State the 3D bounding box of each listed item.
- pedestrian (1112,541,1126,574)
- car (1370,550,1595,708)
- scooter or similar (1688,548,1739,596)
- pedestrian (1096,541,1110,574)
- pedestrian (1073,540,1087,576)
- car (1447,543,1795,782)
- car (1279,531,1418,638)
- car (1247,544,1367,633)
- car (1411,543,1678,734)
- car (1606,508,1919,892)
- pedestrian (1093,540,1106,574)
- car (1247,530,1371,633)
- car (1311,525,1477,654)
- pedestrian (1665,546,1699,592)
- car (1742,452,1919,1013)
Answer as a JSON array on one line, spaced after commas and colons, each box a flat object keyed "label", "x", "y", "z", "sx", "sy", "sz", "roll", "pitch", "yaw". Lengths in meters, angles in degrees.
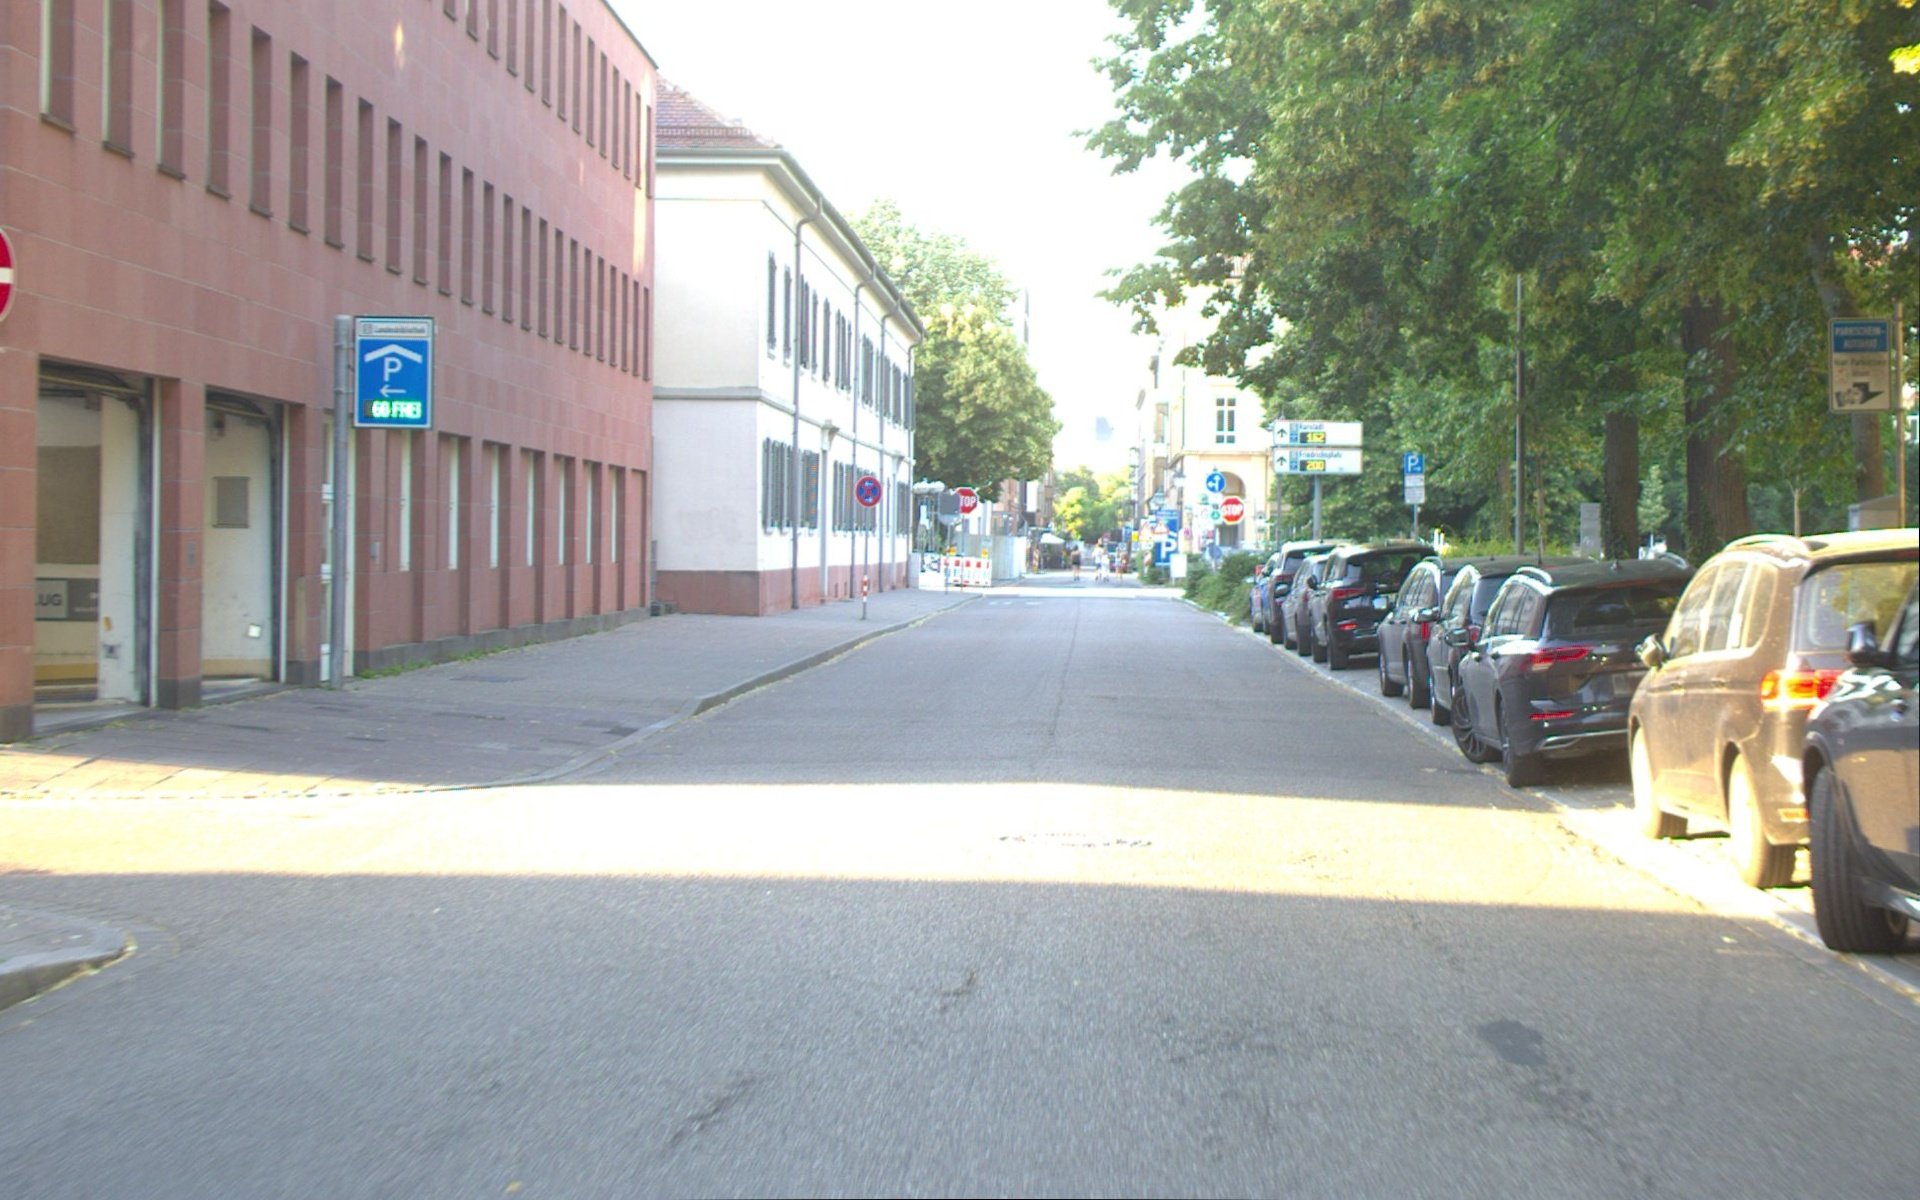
[{"label": "pedestrian", "x": 7.636, "y": -2.039, "z": 165.358, "sx": 0.657, "sy": 1.611, "sz": 0.745, "roll": 0, "pitch": 1, "yaw": 3}, {"label": "car", "x": 5.234, "y": 0.268, "z": 34.926, "sx": 1.735, "sy": 1.501, "sz": 4.522, "roll": 0, "pitch": 0, "yaw": 2}, {"label": "scooter or similar", "x": 19.722, "y": -0.725, "z": 89.990, "sx": 1.216, "sy": 1.241, "sz": 0.418, "roll": 0, "pitch": 0, "yaw": -14}, {"label": "pedestrian", "x": 6.896, "y": -2.049, "z": 165.434, "sx": 0.657, "sy": 1.611, "sz": 0.745, "roll": 0, "pitch": 1, "yaw": 3}, {"label": "pedestrian", "x": 5.834, "y": -2.047, "z": 167.659, "sx": 0.657, "sy": 1.754, "sz": 0.745, "roll": 0, "pitch": 1, "yaw": 3}, {"label": "car", "x": 4.568, "y": 0.394, "z": 24.373, "sx": 1.724, "sy": 1.528, "sz": 4.623, "roll": 0, "pitch": 0, "yaw": 2}, {"label": "car", "x": 5.732, "y": -0.227, "z": 51.140, "sx": 1.724, "sy": 1.533, "sz": 4.189, "roll": 0, "pitch": 0, "yaw": 2}, {"label": "car", "x": 6.337, "y": -0.230, "z": 63.207, "sx": 1.724, "sy": 1.483, "sz": 4.610, "roll": -3, "pitch": 1, "yaw": 1}, {"label": "car", "x": 4.973, "y": 0.301, "z": 29.730, "sx": 1.724, "sy": 1.528, "sz": 4.189, "roll": 0, "pitch": 0, "yaw": 2}, {"label": "car", "x": 4.465, "y": 0.431, "z": 17.281, "sx": 1.724, "sy": 1.676, "sz": 4.499, "roll": 0, "pitch": 0, "yaw": 2}, {"label": "pedestrian", "x": 6.808, "y": -2.099, "z": 167.707, "sx": 0.657, "sy": 1.630, "sz": 0.745, "roll": 0, "pitch": 1, "yaw": 3}, {"label": "car", "x": 5.754, "y": -0.303, "z": 57.081, "sx": 1.724, "sy": 1.646, "sz": 4.713, "roll": 0, "pitch": 0, "yaw": 2}, {"label": "car", "x": 5.764, "y": -0.140, "z": 46.106, "sx": 1.807, "sy": 1.646, "sz": 4.418, "roll": 0, "pitch": 0, "yaw": 2}, {"label": "pedestrian", "x": 18.909, "y": -0.821, "z": 90.011, "sx": 0.663, "sy": 1.187, "sz": 0.794, "roll": 1, "pitch": 1, "yaw": 30}, {"label": "car", "x": 4.032, "y": 0.427, "z": 11.749, "sx": 1.805, "sy": 1.807, "sz": 4.947, "roll": 0, "pitch": 0, "yaw": 3}]
